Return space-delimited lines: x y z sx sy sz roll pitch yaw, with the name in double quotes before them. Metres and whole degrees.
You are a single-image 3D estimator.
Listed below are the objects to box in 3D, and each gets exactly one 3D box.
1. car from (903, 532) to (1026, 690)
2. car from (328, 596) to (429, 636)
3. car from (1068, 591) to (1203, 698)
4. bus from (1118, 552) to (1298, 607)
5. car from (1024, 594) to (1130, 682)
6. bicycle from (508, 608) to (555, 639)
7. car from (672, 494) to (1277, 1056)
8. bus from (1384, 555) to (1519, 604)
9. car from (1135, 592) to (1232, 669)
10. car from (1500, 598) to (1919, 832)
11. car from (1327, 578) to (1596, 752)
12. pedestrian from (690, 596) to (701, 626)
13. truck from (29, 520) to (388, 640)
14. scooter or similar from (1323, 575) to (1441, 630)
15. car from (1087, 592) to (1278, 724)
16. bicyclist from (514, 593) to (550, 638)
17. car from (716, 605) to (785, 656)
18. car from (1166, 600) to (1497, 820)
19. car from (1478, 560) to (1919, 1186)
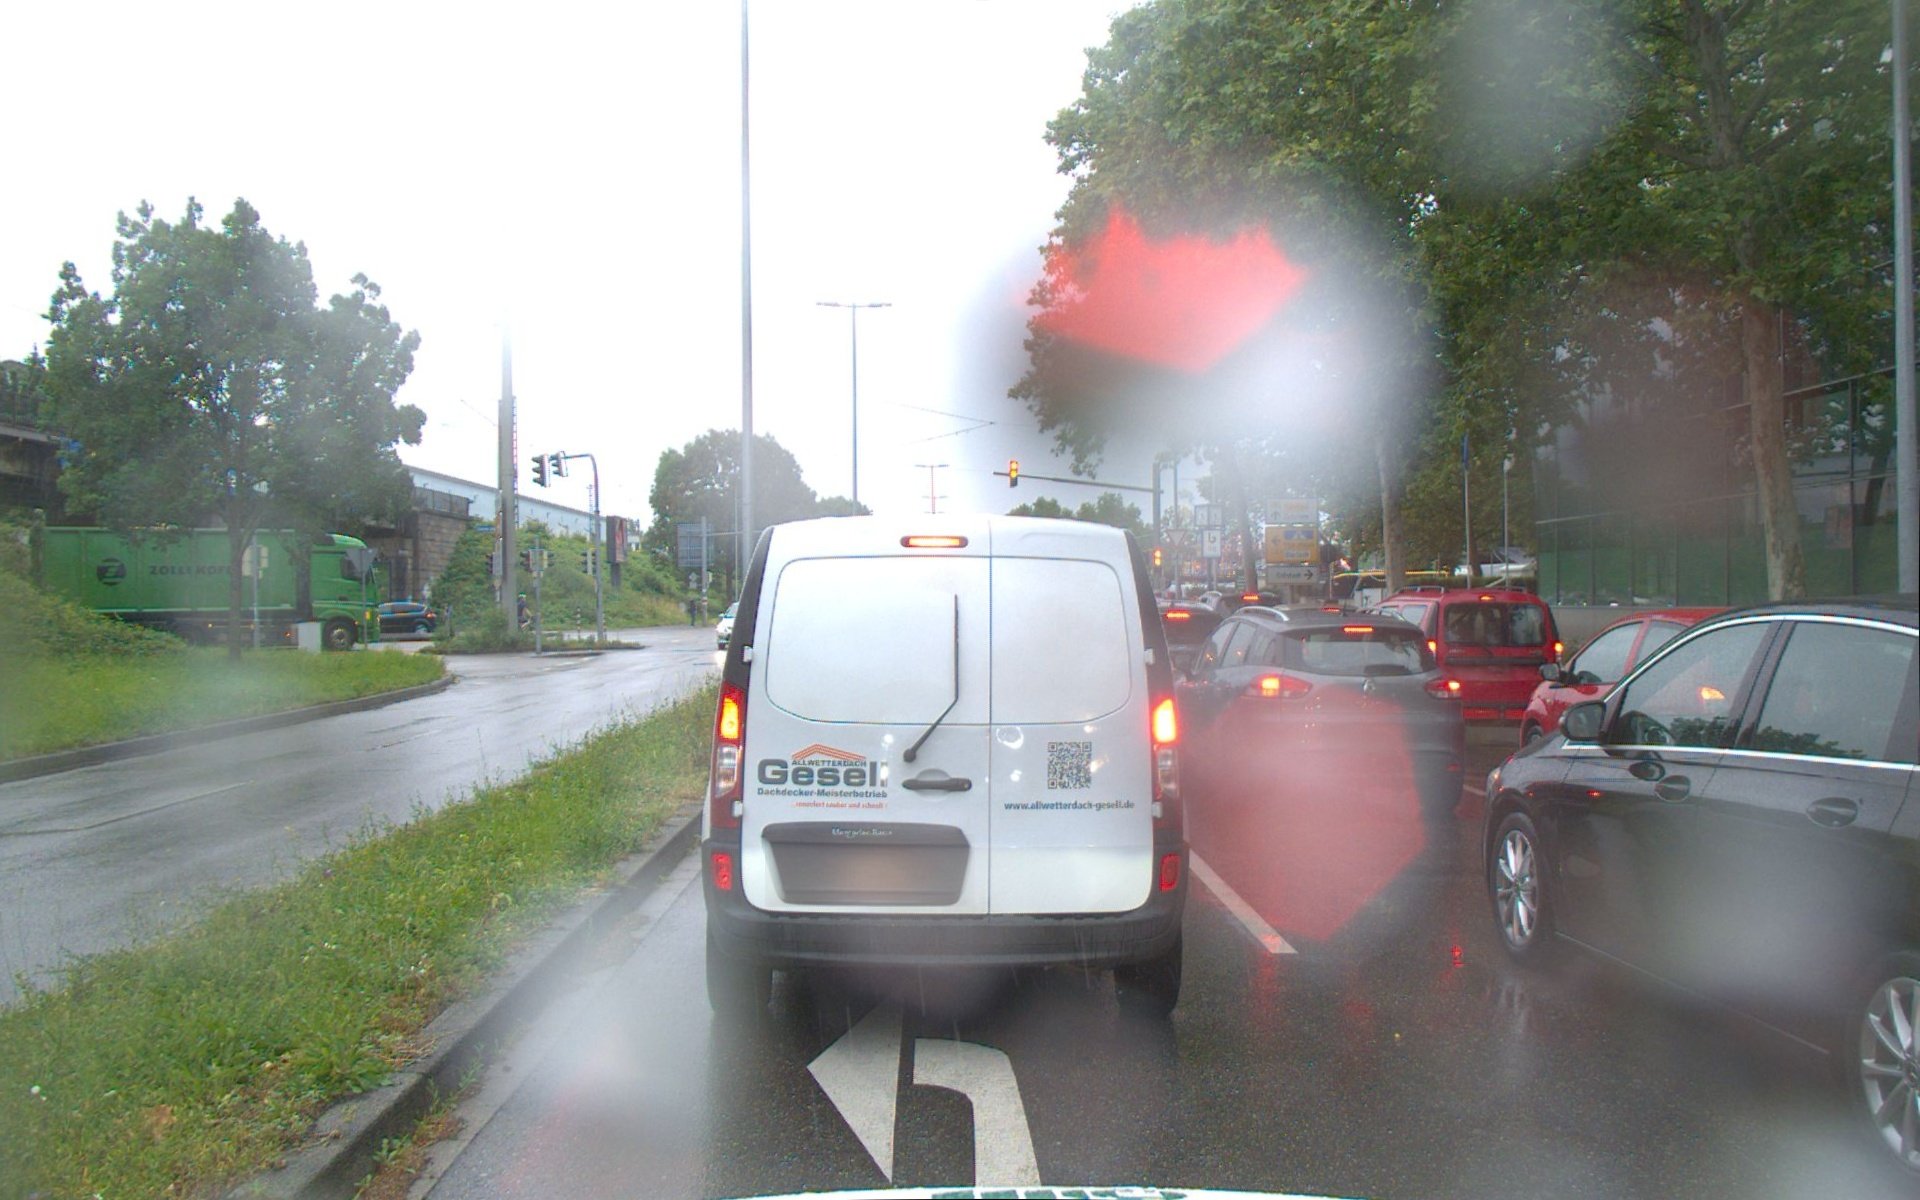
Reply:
"car" 0.038 0.151 26.382 1.816 2.336 3.842 0 0 -1
"car" -26.312 0.693 74.870 3.956 1.747 1.974 0 0 -37
"car" 2.878 0.686 27.883 1.816 1.678 3.842 0 0 -1
"bus" 16.601 -1.377 111.142 11.727 3.483 2.315 -1 1 -1
"car" 2.313 0.739 33.537 1.816 1.678 3.842 0 0 -1
"bicycle" -14.360 0.770 55.327 1.027 0.968 2.866 -1 1 -25
"car" 0.018 0.543 7.632 1.953 1.807 4.584 0 0 -1
"bus" 36.737 -1.582 123.304 11.854 3.483 2.456 -1 1 -32
"car" 5.176 0.688 38.691 1.674 1.678 3.842 1 0 -1
"car" 5.408 0.743 12.357 1.537 1.488 3.388 0 0 -2
"car" 5.518 0.671 18.761 1.676 1.724 4.271 1 -1 -1
"pedestrian" -15.356 0.638 95.916 0.532 1.746 0.563 1 -1 -5
"truck" -23.112 -0.602 51.364 9.956 3.430 2.316 0 0 -37
"scooter or similar" 19.675 0.114 77.350 1.878 2.489 5.239 0 0 -41
"car" 2.666 0.643 20.653 1.816 1.486 3.842 0 0 -1
"bicyclist" -14.301 0.520 55.218 1.028 1.475 0.723 -1 1 -26
"car" -6.770 0.962 53.862 1.779 1.488 3.999 -3 0 -2
"car" 2.757 0.746 13.107 1.649 1.433 3.842 1 0 -2
"car" 3.251 0.692 5.437 1.712 1.582 4.089 0 0 -2
